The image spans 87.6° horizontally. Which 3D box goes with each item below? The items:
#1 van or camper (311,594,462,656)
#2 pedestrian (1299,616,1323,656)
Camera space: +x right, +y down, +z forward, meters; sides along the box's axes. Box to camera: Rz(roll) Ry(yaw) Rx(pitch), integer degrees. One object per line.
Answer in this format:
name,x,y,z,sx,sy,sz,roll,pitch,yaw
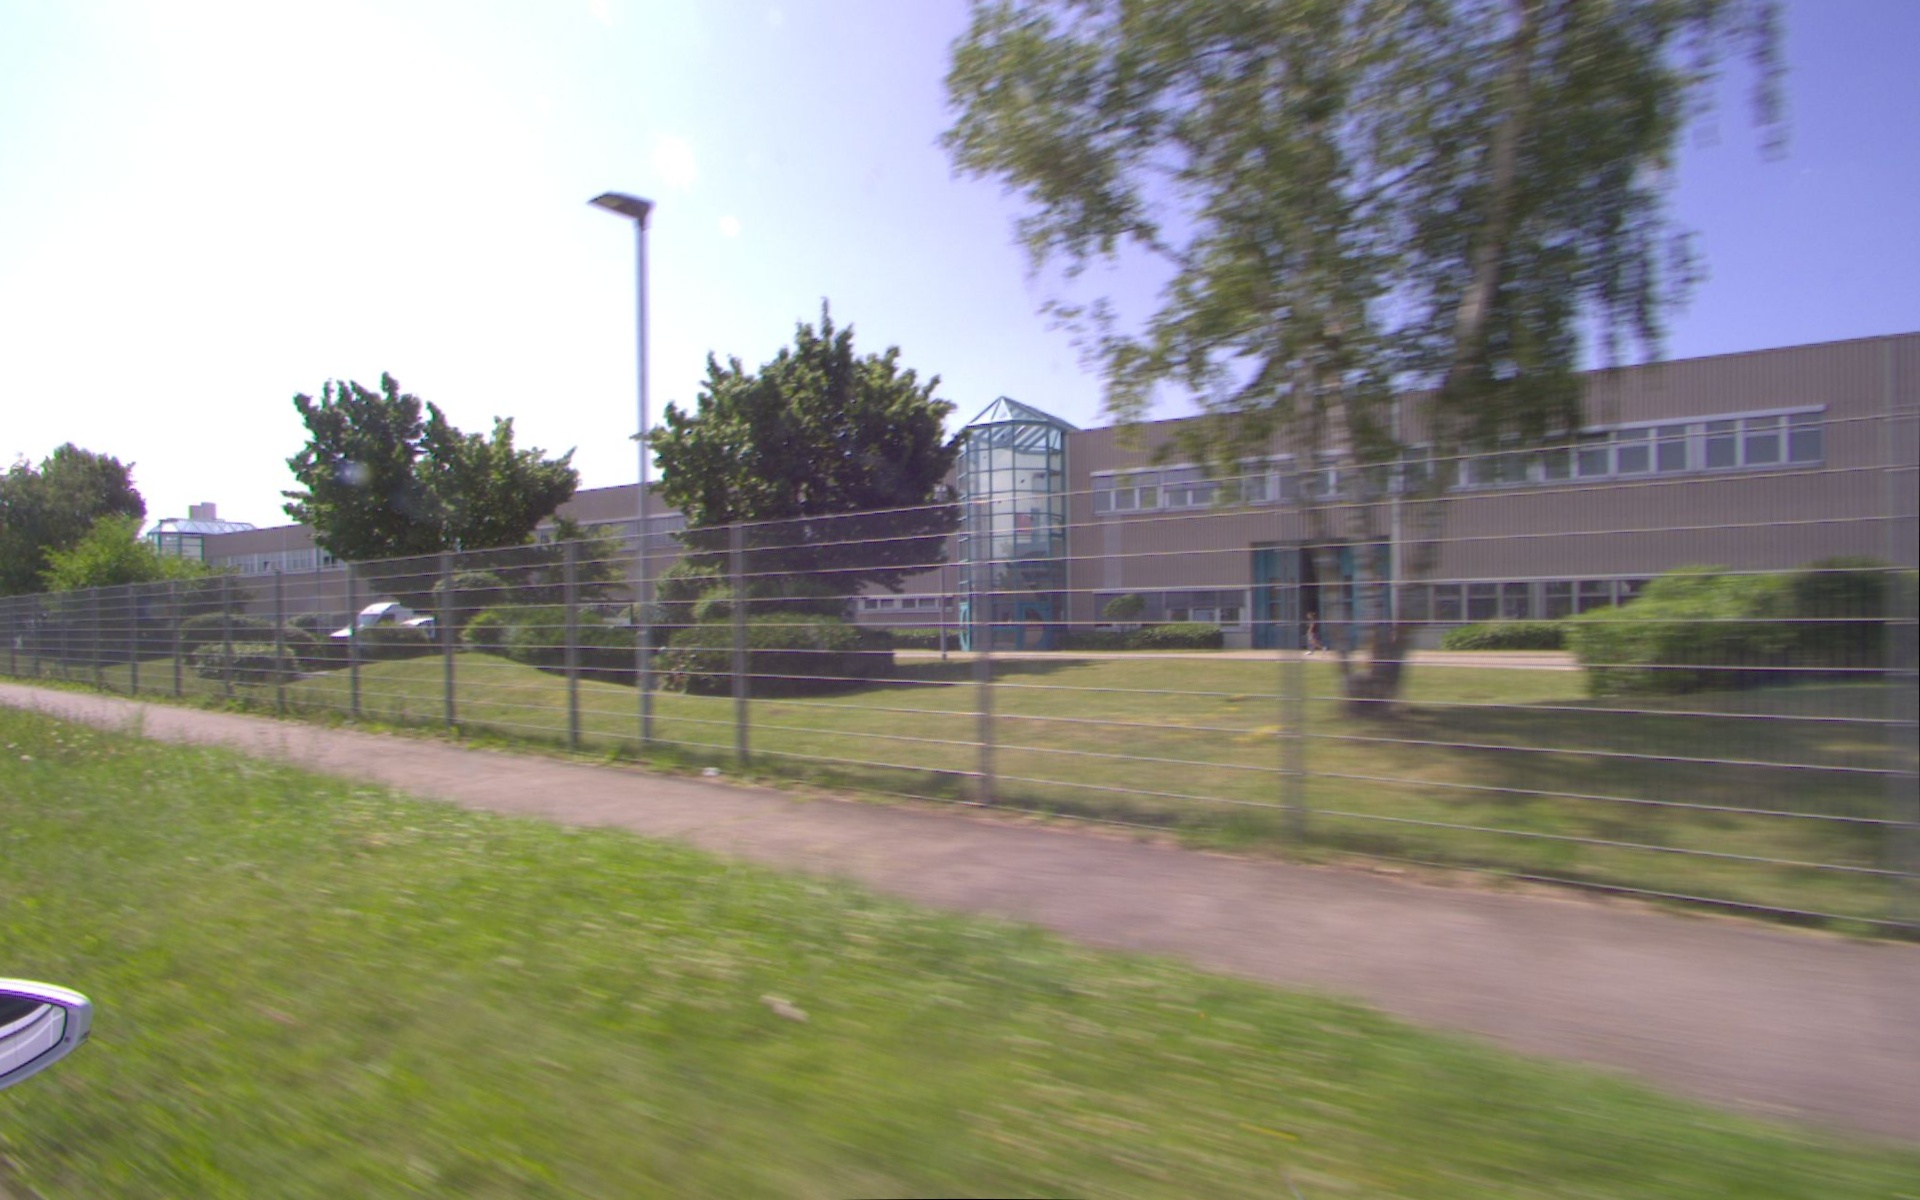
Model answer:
van or camper,-26.186,1.230,45.980,1.970,2.549,5.770,-1,-4,29
pedestrian,12.568,1.291,35.887,0.720,1.409,0.513,-1,0,32
